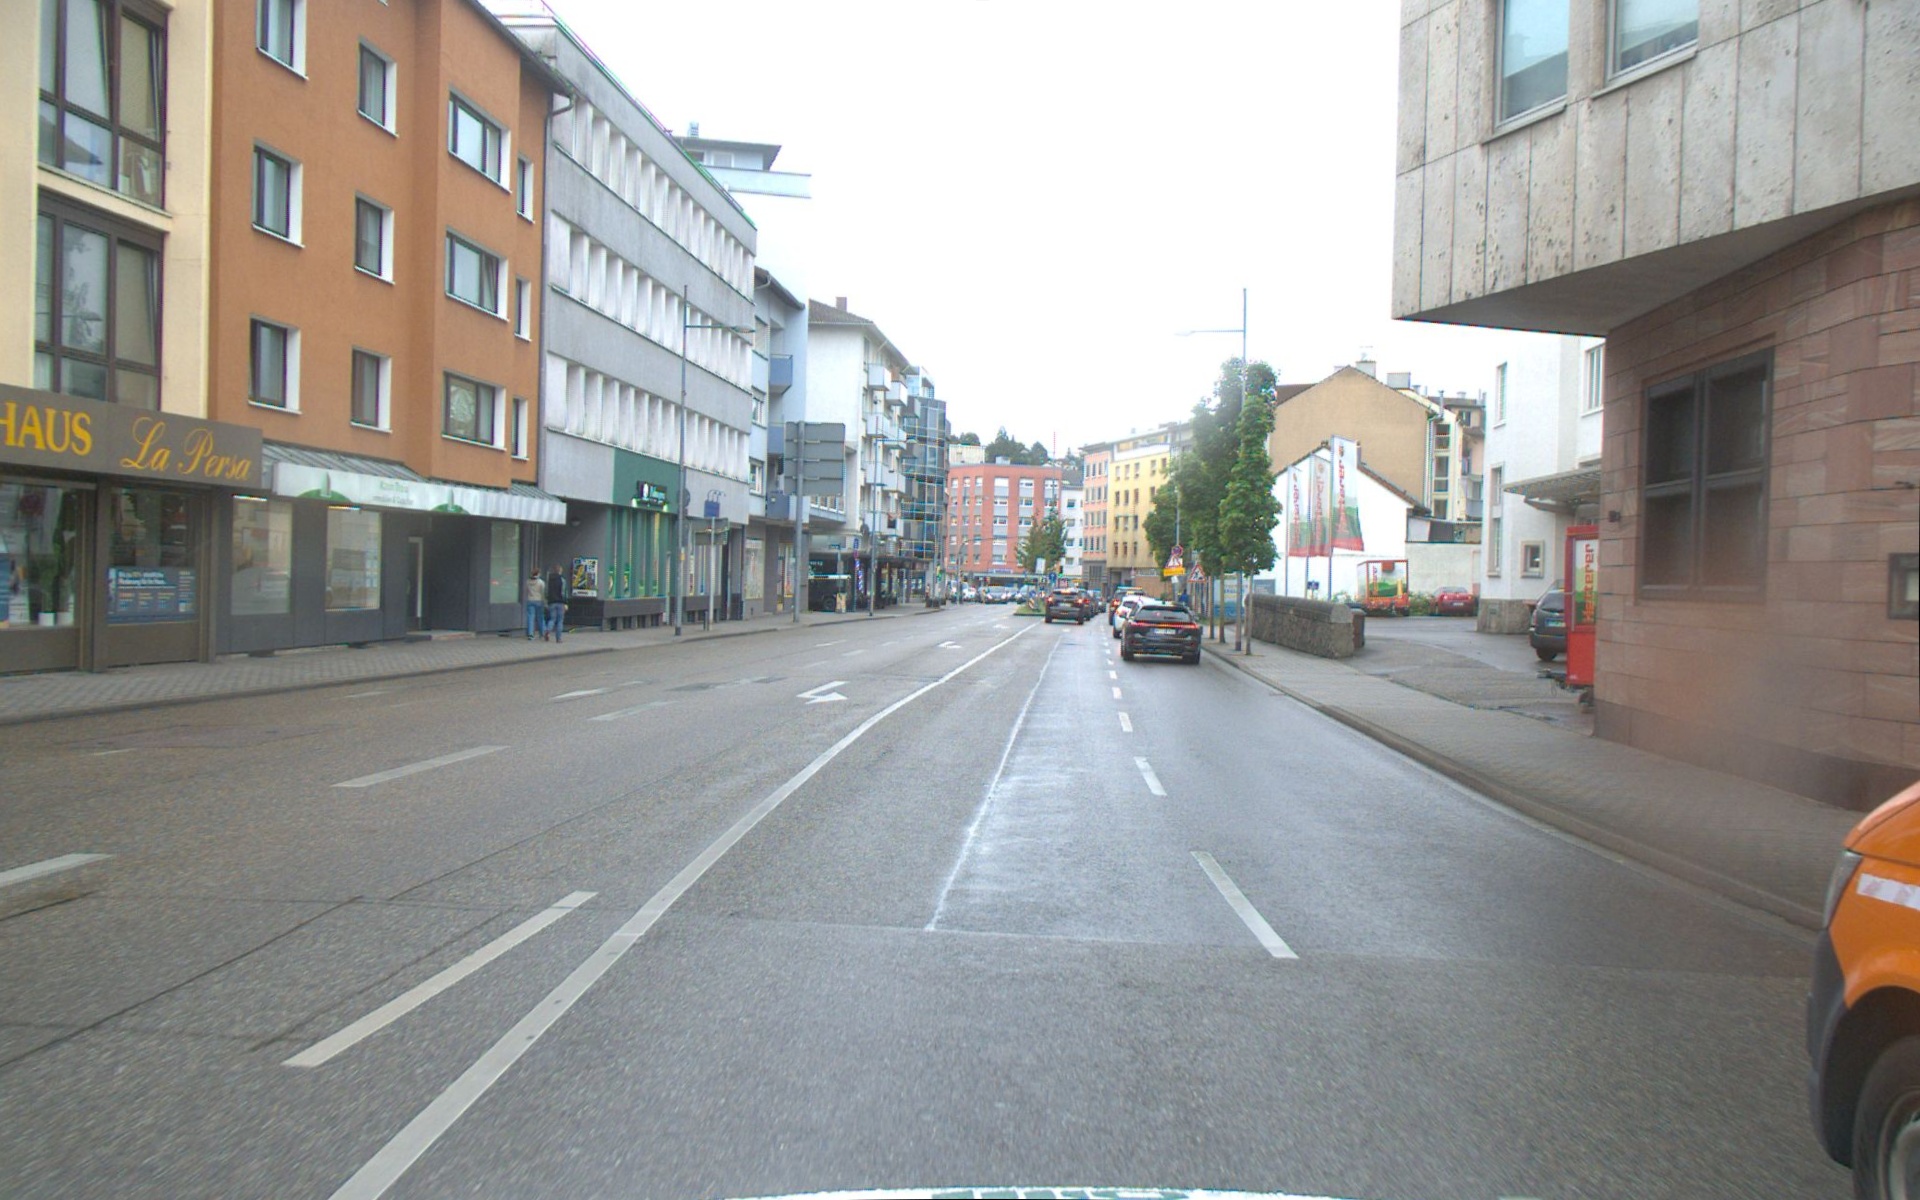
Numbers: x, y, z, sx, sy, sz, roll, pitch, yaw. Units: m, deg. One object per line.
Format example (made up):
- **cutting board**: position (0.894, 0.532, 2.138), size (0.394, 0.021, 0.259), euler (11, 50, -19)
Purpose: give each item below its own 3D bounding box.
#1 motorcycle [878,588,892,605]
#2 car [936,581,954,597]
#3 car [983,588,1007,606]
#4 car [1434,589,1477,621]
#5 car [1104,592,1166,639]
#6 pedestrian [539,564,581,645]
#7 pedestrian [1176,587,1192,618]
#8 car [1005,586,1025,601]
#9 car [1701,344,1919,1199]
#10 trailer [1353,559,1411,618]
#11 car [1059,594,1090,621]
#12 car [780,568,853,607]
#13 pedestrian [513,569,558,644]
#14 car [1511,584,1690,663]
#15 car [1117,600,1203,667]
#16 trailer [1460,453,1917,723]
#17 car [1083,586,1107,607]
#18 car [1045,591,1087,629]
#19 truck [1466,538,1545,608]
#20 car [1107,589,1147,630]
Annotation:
- **motorcycle**: position (-4.650, -0.198, 102.974), size (0.514, 1.012, 2.138), euler (3, 1, 6)
- **car**: position (-1.539, -1.157, 170.335), size (1.427, 1.455, 3.366), euler (3, 1, -6)
- **car**: position (3.039, -0.287, 142.886), size (1.672, 1.493, 4.832), euler (-1, 0, 6)
- **car**: position (24.168, 0.228, 80.766), size (1.556, 1.482, 3.267), euler (0, 0, 9)
- **car**: position (6.176, 0.517, 58.722), size (1.631, 1.420, 3.867), euler (4, 2, -1)
- **pedestrian**: position (-9.370, 0.105, 38.742), size (0.563, 1.819, 0.827), euler (5, 1, 5)
- **pedestrian**: position (13.041, 0.132, 96.099), size (0.775, 1.786, 0.872), euler (0, 0, 18)
- **car**: position (5.574, -0.631, 166.996), size (1.686, 1.448, 4.163), euler (-1, 0, -3)
- **car**: position (3.068, 0.515, 1.880), size (2.058, 2.125, 5.543), euler (-1, 1, 1)
- **trailer**: position (20.891, -0.610, 82.095), size (2.082, 2.763, 5.396), euler (-1, 1, 7)
- **car**: position (6.058, 0.396, 87.596), size (1.606, 1.405, 3.350), euler (0, 0, 4)
- **car**: position (-8.077, -0.719, 93.206), size (3.879, 2.070, 1.581), euler (1, 0, 5)
- **pedestrian**: position (-9.963, 0.150, 38.869), size (0.617, 1.704, 0.909), euler (5, 1, 4)
- **car**: position (14.549, 0.491, 37.531), size (3.947, 1.610, 1.753), euler (-1, 2, -31)
- **car**: position (4.860, 0.777, 40.708), size (1.752, 1.427, 4.635), euler (2, 1, 3)
- **trailer**: position (9.800, -0.165, 22.916), size (2.590, 3.232, 5.680), euler (0, 0, -21)
- **car**: position (9.278, -0.235, 113.950), size (1.606, 1.405, 3.350), euler (0, 0, 4)
- **car**: position (5.061, 0.458, 78.337), size (1.785, 1.628, 3.721), euler (3, 1, 6)
- **truck**: position (26.675, -1.289, 81.112), size (2.575, 3.272, 6.935), euler (-1, 0, 9)
- **car**: position (8.269, 0.437, 81.752), size (1.792, 1.836, 3.722), euler (3, 2, 7)
